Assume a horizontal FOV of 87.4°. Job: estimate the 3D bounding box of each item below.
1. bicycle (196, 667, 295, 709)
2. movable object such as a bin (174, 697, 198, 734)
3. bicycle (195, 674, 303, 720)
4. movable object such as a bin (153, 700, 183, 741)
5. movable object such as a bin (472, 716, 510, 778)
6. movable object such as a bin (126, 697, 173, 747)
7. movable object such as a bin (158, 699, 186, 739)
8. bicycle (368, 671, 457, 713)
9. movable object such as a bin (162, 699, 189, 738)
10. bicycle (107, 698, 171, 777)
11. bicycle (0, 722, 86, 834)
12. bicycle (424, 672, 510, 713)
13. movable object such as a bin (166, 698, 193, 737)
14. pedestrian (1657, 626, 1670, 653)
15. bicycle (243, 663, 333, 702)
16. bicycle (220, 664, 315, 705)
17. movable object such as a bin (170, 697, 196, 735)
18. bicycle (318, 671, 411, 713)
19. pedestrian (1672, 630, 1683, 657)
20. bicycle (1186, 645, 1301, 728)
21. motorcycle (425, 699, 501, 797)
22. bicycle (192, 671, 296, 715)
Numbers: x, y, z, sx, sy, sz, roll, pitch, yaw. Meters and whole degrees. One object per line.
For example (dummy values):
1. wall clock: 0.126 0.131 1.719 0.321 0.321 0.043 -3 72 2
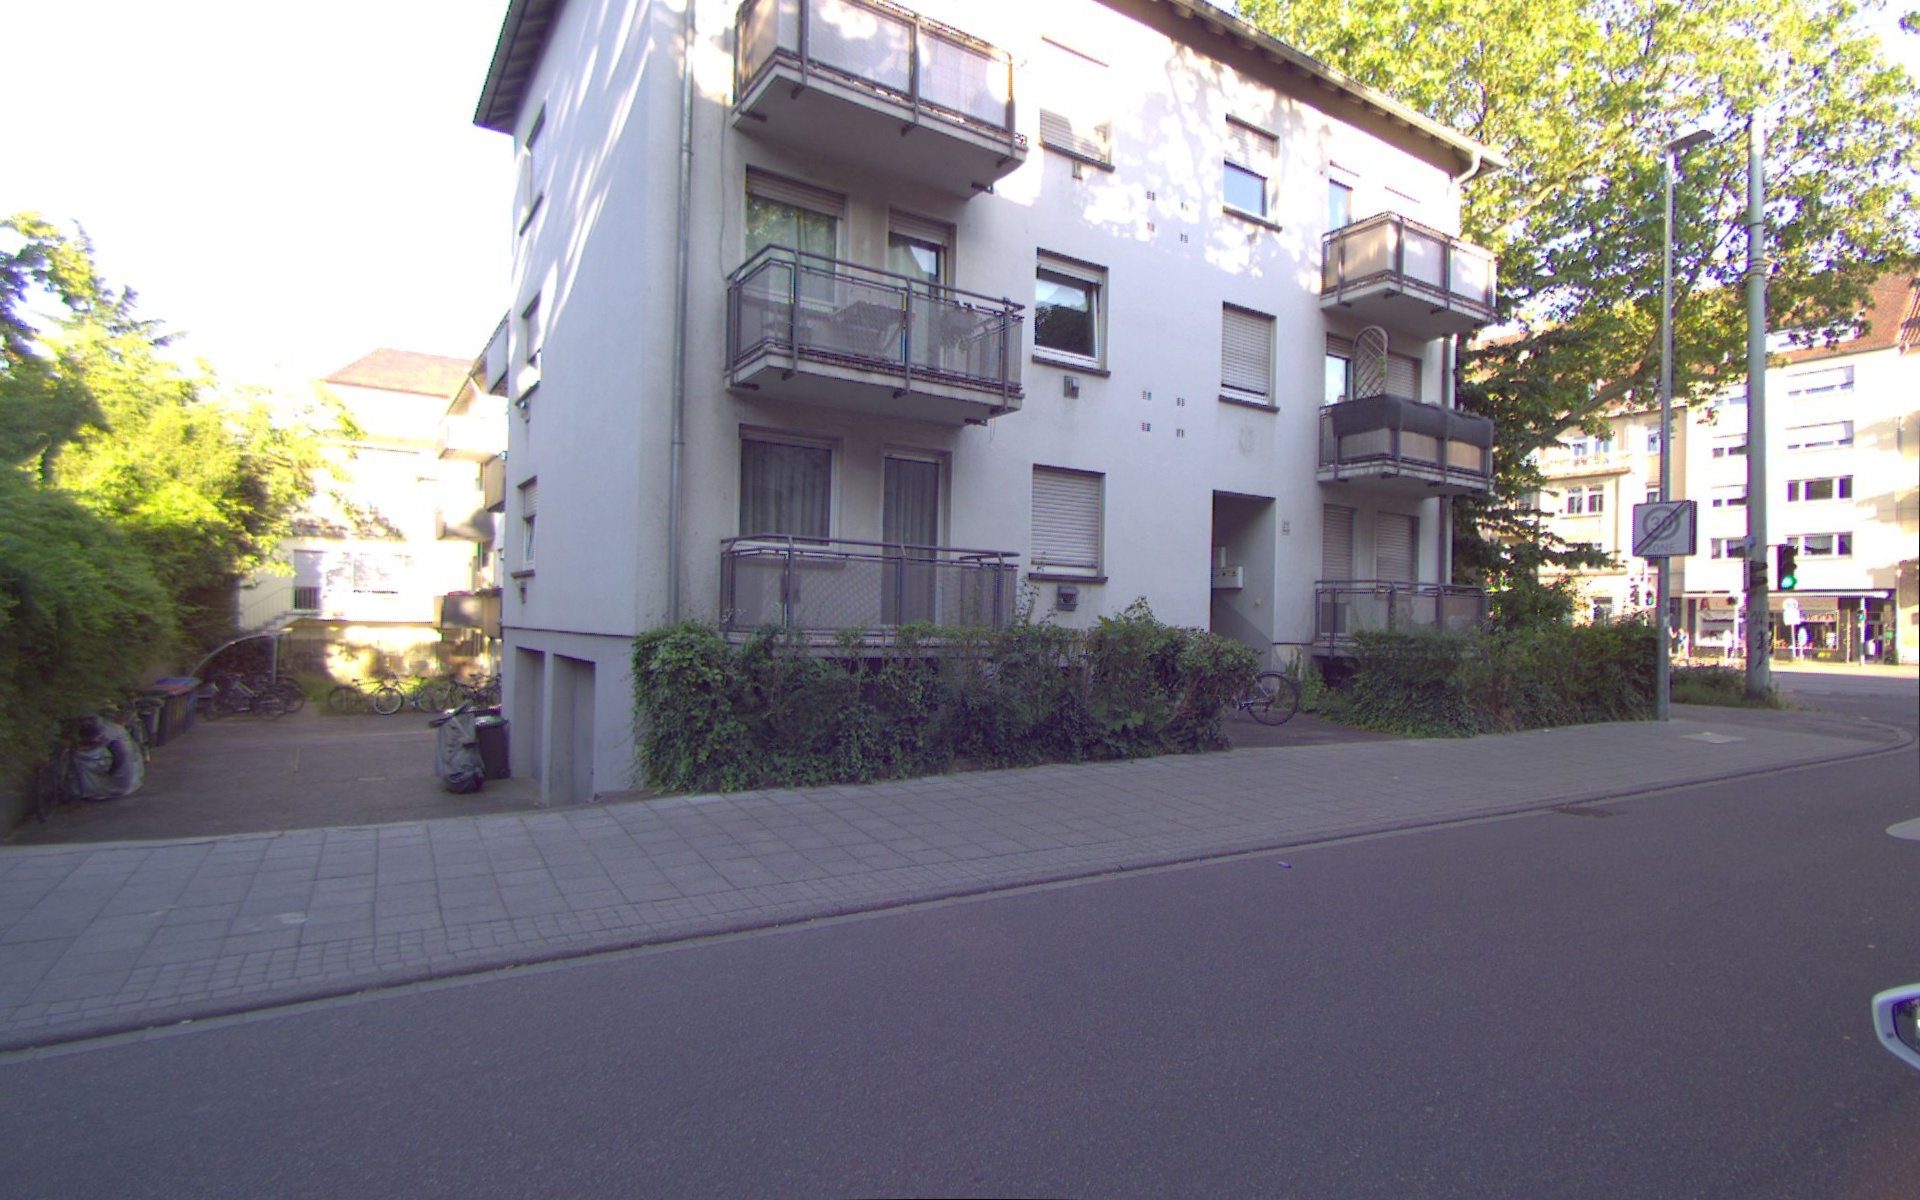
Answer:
1. bicycle: -18.908 2.342 26.640 2.045 1.034 0.611 4 0 -30
2. movable object such as a bin: -16.657 2.485 21.614 0.342 0.768 0.361 2 -4 -30
3. bicycle: -17.324 2.380 24.535 2.045 1.034 0.637 4 0 -30
4. movable object such as a bin: -15.685 2.373 19.889 0.393 0.784 0.361 2 -4 -30
5. movable object such as a bin: -7.551 2.349 16.166 0.428 0.899 0.720 1 -2 -34
6. movable object such as a bin: -15.000 2.251 18.605 0.570 0.891 0.491 2 -4 -30
7. movable object such as a bin: -15.873 2.398 20.238 0.377 0.784 0.361 2 -4 -30
8. bicycle: -14.785 2.502 27.179 2.045 1.034 0.637 4 0 -30
9. movable object such as a bin: -16.071 2.422 20.580 0.371 0.768 0.361 2 -4 -30
10. bicycle: -13.272 2.189 16.277 0.509 1.033 1.922 3 -1 -32
11. bicycle: -11.053 2.089 12.048 0.509 1.033 1.922 3 -1 -32
12. bicycle: -13.652 2.577 27.843 2.045 1.034 0.637 4 0 -30
13. movable object such as a bin: -16.258 2.442 20.929 0.362 0.768 0.361 2 -4 -30
14. pedestrian: 40.877 2.274 58.342 0.558 1.531 0.499 0 -1 41
15. bicycle: -19.066 2.346 28.550 2.045 1.034 0.564 4 0 -30
16. bicycle: -19.043 2.343 27.678 2.045 1.034 0.611 4 0 -30
17. movable object such as a bin: -16.452 2.455 21.270 0.362 0.768 0.361 2 -4 -30
18. bicycle: -15.741 2.439 26.598 2.045 1.034 0.637 4 0 -30
19. pedestrian: 41.407 2.500 57.959 0.502 1.531 0.535 0 -1 37
20. bicycle: 3.833 1.146 13.595 1.433 0.988 0.407 3 0 21
21. motorcycle: -7.449 2.173 15.015 0.751 1.268 1.577 1 -2 -36
22. bicycle: -18.076 2.361 25.414 2.045 1.034 0.568 4 0 -30
